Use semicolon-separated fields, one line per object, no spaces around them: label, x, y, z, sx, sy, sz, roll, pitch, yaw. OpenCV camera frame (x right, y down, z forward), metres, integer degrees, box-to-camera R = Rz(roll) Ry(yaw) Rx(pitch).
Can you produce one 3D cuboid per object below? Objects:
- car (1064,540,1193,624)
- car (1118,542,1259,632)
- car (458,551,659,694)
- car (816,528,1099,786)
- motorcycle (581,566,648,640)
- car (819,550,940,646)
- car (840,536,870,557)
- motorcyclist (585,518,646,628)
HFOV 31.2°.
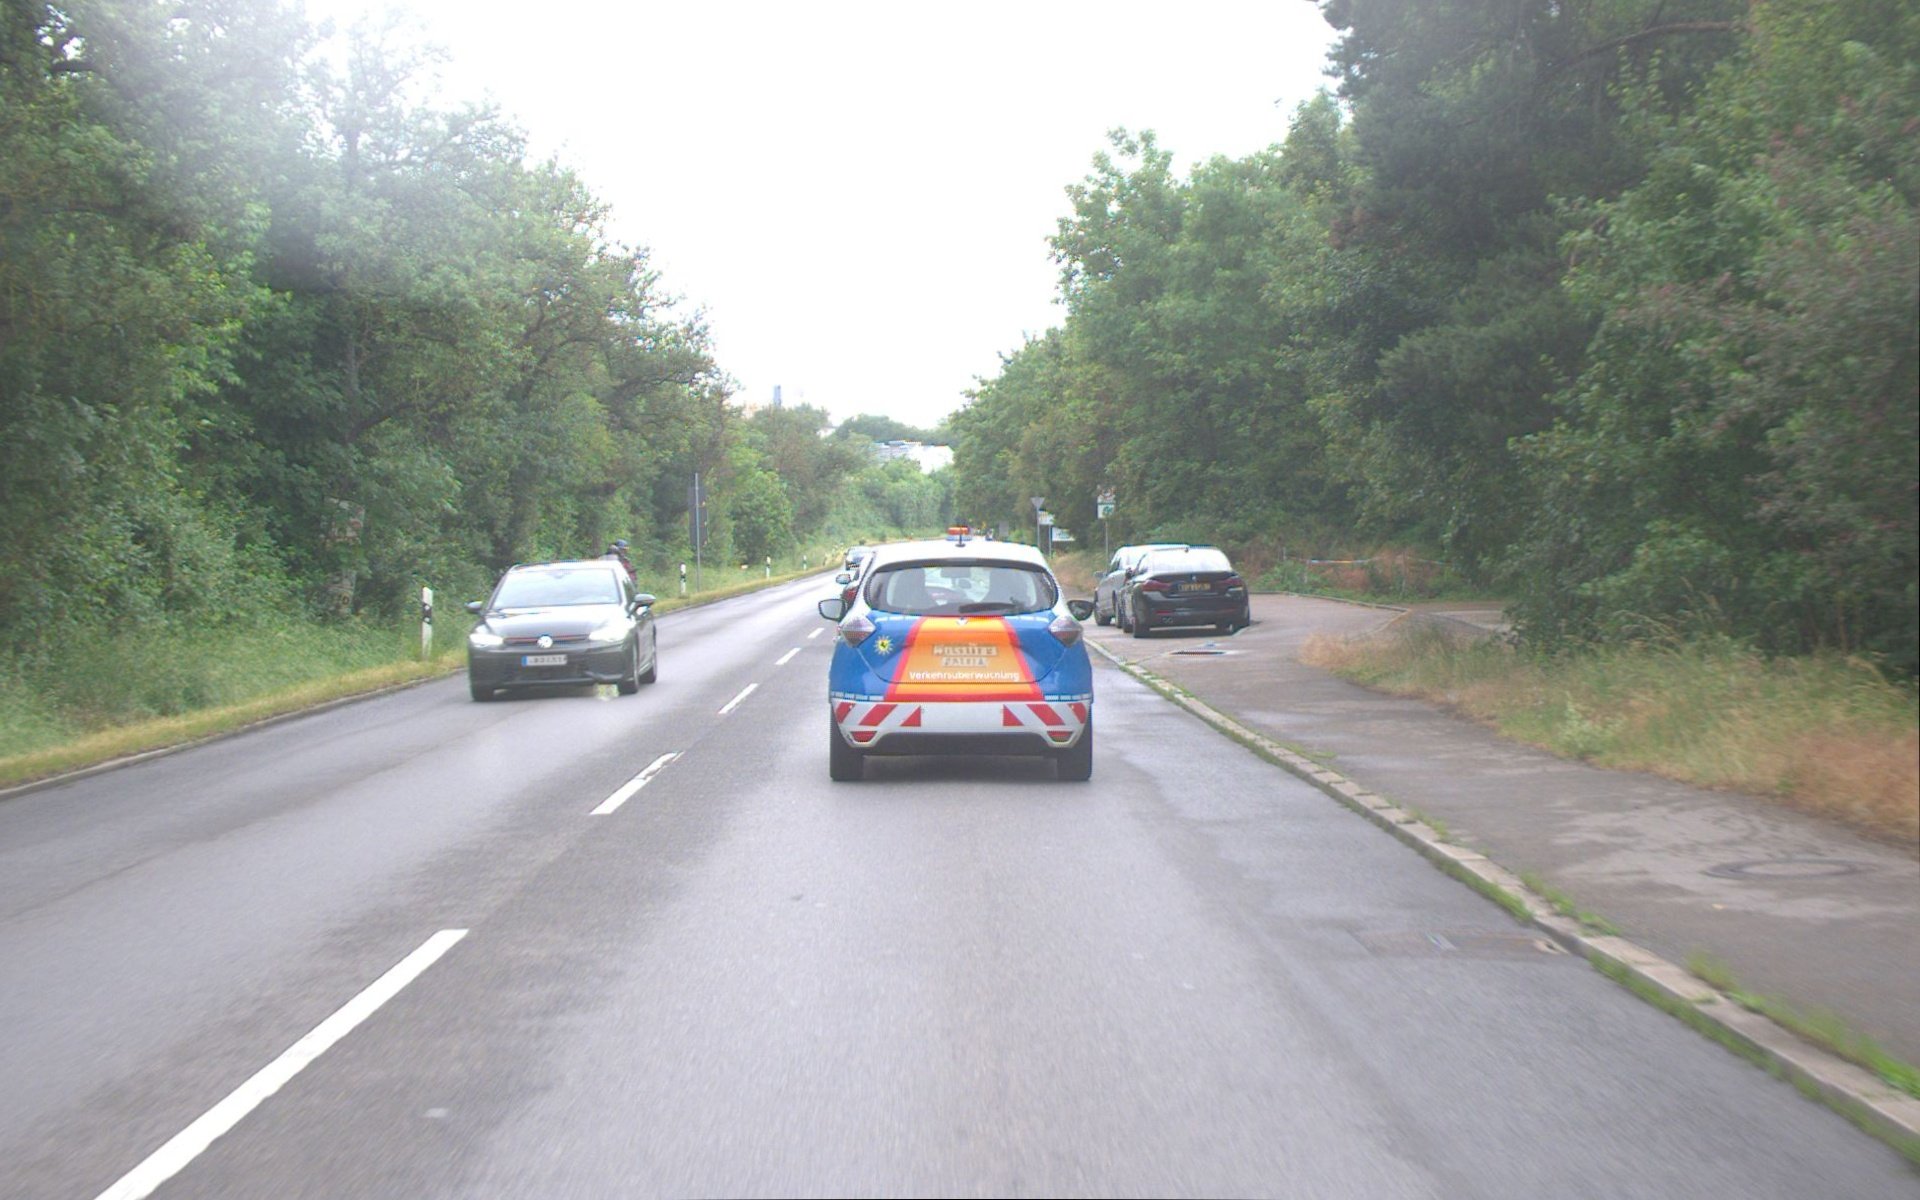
car;2.972;-0.343;61.294;1.993;1.436;4.068;0;1;-2
car;3.631;-0.235;55.205;1.993;1.371;4.000;-1;1;0
car;-4.306;0.203;37.401;1.710;1.394;4.150;-2;1;-1
car;-0.034;0.319;23.403;1.752;1.550;3.793;1;2;-1
motorcycle;-5.433;0.032;54.231;0.868;1.122;2.395;-1;1;-1
car;-1.119;-0.053;48.957;1.598;1.282;3.476;-1;1;0
car;-6.740;-3.441;221.095;1.884;1.382;4.001;0;1;-2
motorcyclist;-5.440;-0.436;54.370;0.868;1.717;1.036;-1;1;-1
